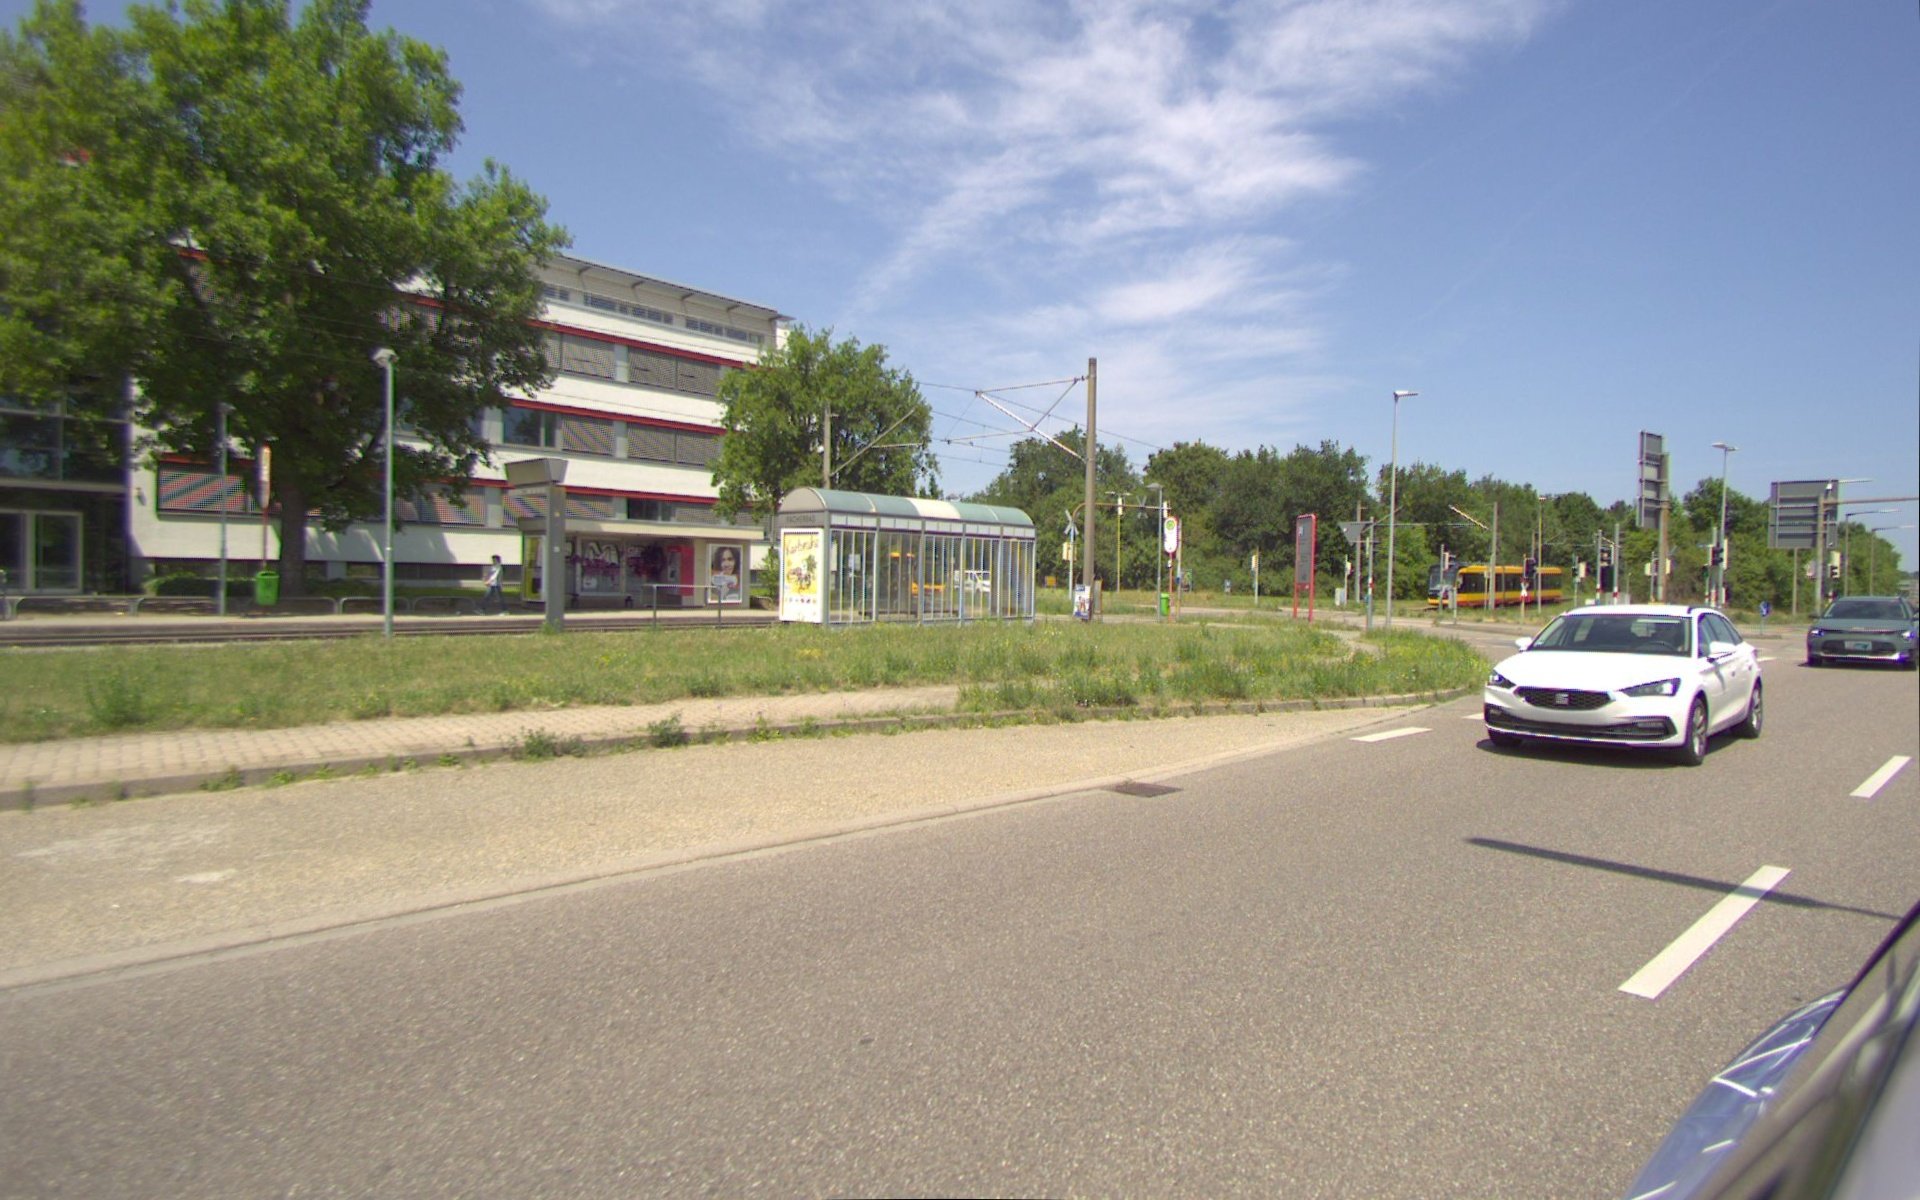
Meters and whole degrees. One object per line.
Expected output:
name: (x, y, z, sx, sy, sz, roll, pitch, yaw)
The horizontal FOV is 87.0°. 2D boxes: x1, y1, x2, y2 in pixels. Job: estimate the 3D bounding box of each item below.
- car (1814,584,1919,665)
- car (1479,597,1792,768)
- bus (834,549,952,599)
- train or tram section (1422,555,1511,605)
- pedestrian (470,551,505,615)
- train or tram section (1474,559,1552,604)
car: (20.491, 0.482, 22.467, 3.930, 1.616, 1.722, 0, 1, -41)
car: (7.219, 0.691, 10.624, 4.374, 1.407, 1.685, 0, 1, -42)
bus: (-4.880, -1.742, 69.567, 2.783, 3.158, 12.088, -1, 1, -31)
train or tram section: (39.889, -1.528, 79.404, 2.814, 3.626, 12.305, 2, 1, 43)
pedestrian: (-12.131, -0.431, 26.006, 0.678, 1.628, 0.553, -1, 0, -41)
train or tram section: (48.388, -1.580, 88.350, 2.815, 3.626, 12.303, 2, 1, 44)
